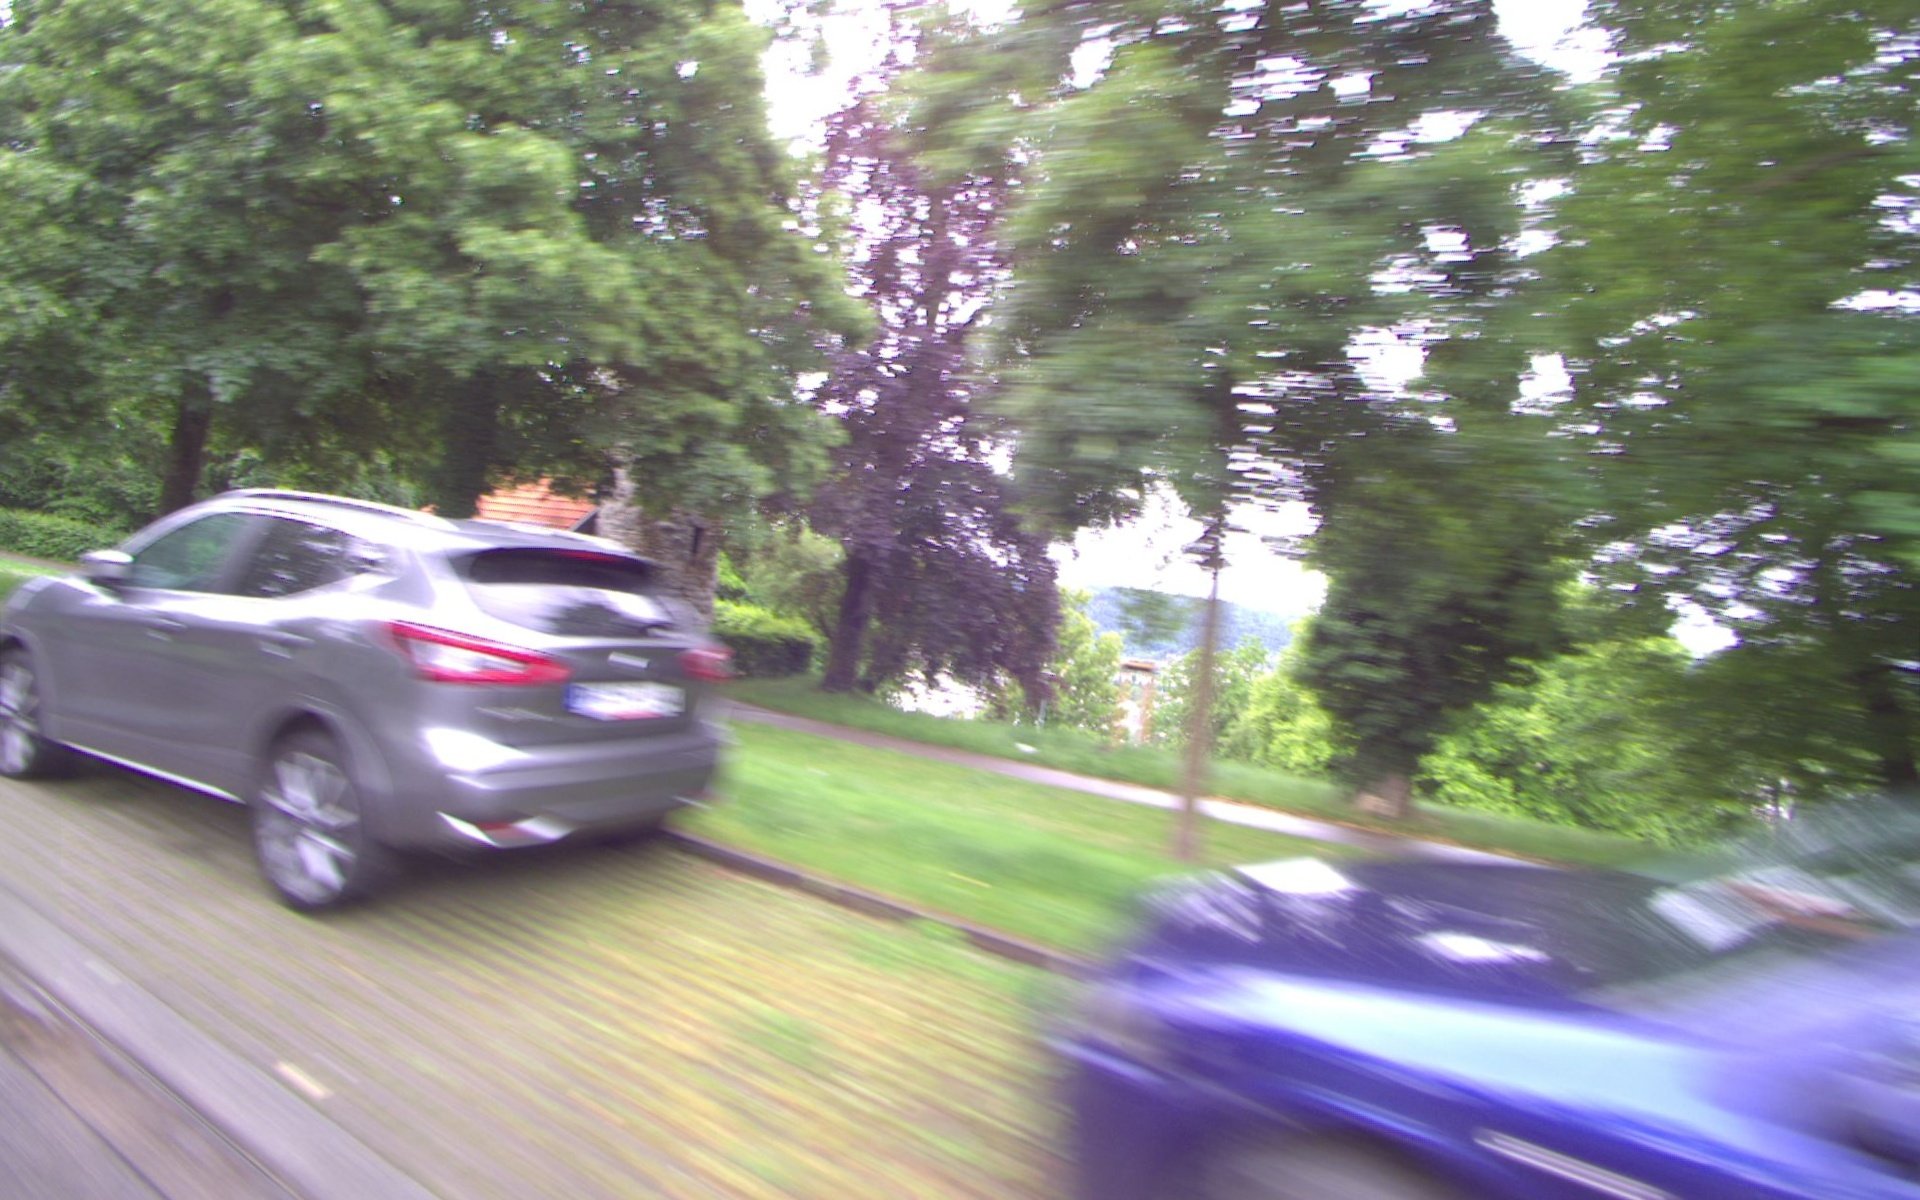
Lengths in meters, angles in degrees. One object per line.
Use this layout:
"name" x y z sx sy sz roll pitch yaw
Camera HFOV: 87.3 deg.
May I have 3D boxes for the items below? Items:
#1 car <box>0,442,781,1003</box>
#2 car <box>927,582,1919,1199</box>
"car" -3.203 0.263 5.162 4.187 1.743 1.782 8 4 28
"car" 2.092 0.934 1.883 3.935 1.472 1.743 7 3 33
